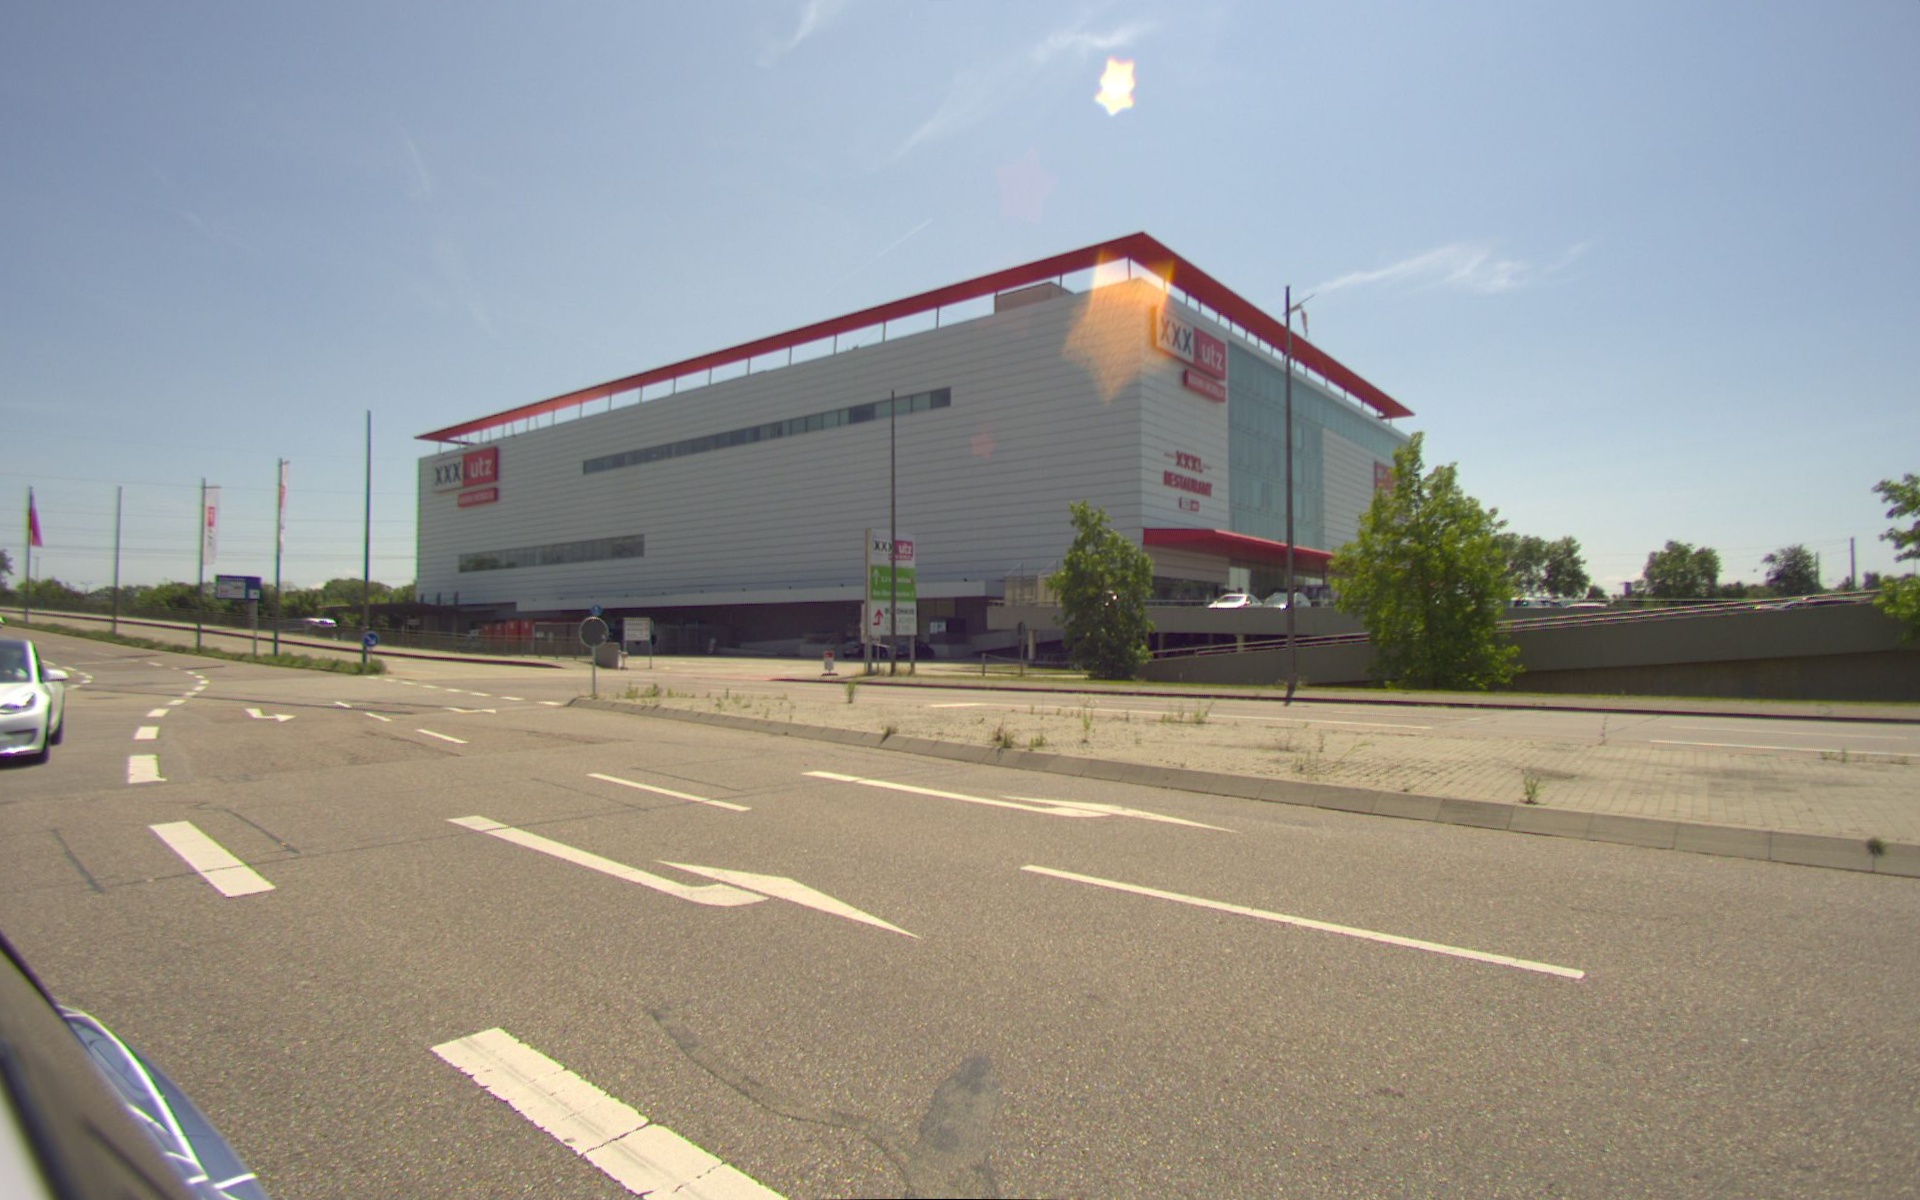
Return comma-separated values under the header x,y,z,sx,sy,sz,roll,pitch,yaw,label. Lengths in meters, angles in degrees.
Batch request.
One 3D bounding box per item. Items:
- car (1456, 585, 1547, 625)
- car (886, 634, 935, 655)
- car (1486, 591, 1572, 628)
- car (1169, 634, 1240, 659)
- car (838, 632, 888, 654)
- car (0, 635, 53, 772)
x,y,z,sx,sy,sz,roll,pitch,yaw,label
28.992,0.293,54.227,3.994,2.029,1.975,-1,-2,38,car
-3.664,3.292,75.652,1.956,1.507,3.441,-1,-2,38,car
32.408,0.563,57.683,3.994,2.029,1.975,-1,-2,38,car
17.073,3.243,70.695,4.402,1.701,1.978,-1,-2,33,car
-7.515,3.314,78.514,1.908,1.632,3.703,-1,-2,36,car
-11.983,1.130,11.839,1.853,1.436,4.409,2,-3,-44,car
